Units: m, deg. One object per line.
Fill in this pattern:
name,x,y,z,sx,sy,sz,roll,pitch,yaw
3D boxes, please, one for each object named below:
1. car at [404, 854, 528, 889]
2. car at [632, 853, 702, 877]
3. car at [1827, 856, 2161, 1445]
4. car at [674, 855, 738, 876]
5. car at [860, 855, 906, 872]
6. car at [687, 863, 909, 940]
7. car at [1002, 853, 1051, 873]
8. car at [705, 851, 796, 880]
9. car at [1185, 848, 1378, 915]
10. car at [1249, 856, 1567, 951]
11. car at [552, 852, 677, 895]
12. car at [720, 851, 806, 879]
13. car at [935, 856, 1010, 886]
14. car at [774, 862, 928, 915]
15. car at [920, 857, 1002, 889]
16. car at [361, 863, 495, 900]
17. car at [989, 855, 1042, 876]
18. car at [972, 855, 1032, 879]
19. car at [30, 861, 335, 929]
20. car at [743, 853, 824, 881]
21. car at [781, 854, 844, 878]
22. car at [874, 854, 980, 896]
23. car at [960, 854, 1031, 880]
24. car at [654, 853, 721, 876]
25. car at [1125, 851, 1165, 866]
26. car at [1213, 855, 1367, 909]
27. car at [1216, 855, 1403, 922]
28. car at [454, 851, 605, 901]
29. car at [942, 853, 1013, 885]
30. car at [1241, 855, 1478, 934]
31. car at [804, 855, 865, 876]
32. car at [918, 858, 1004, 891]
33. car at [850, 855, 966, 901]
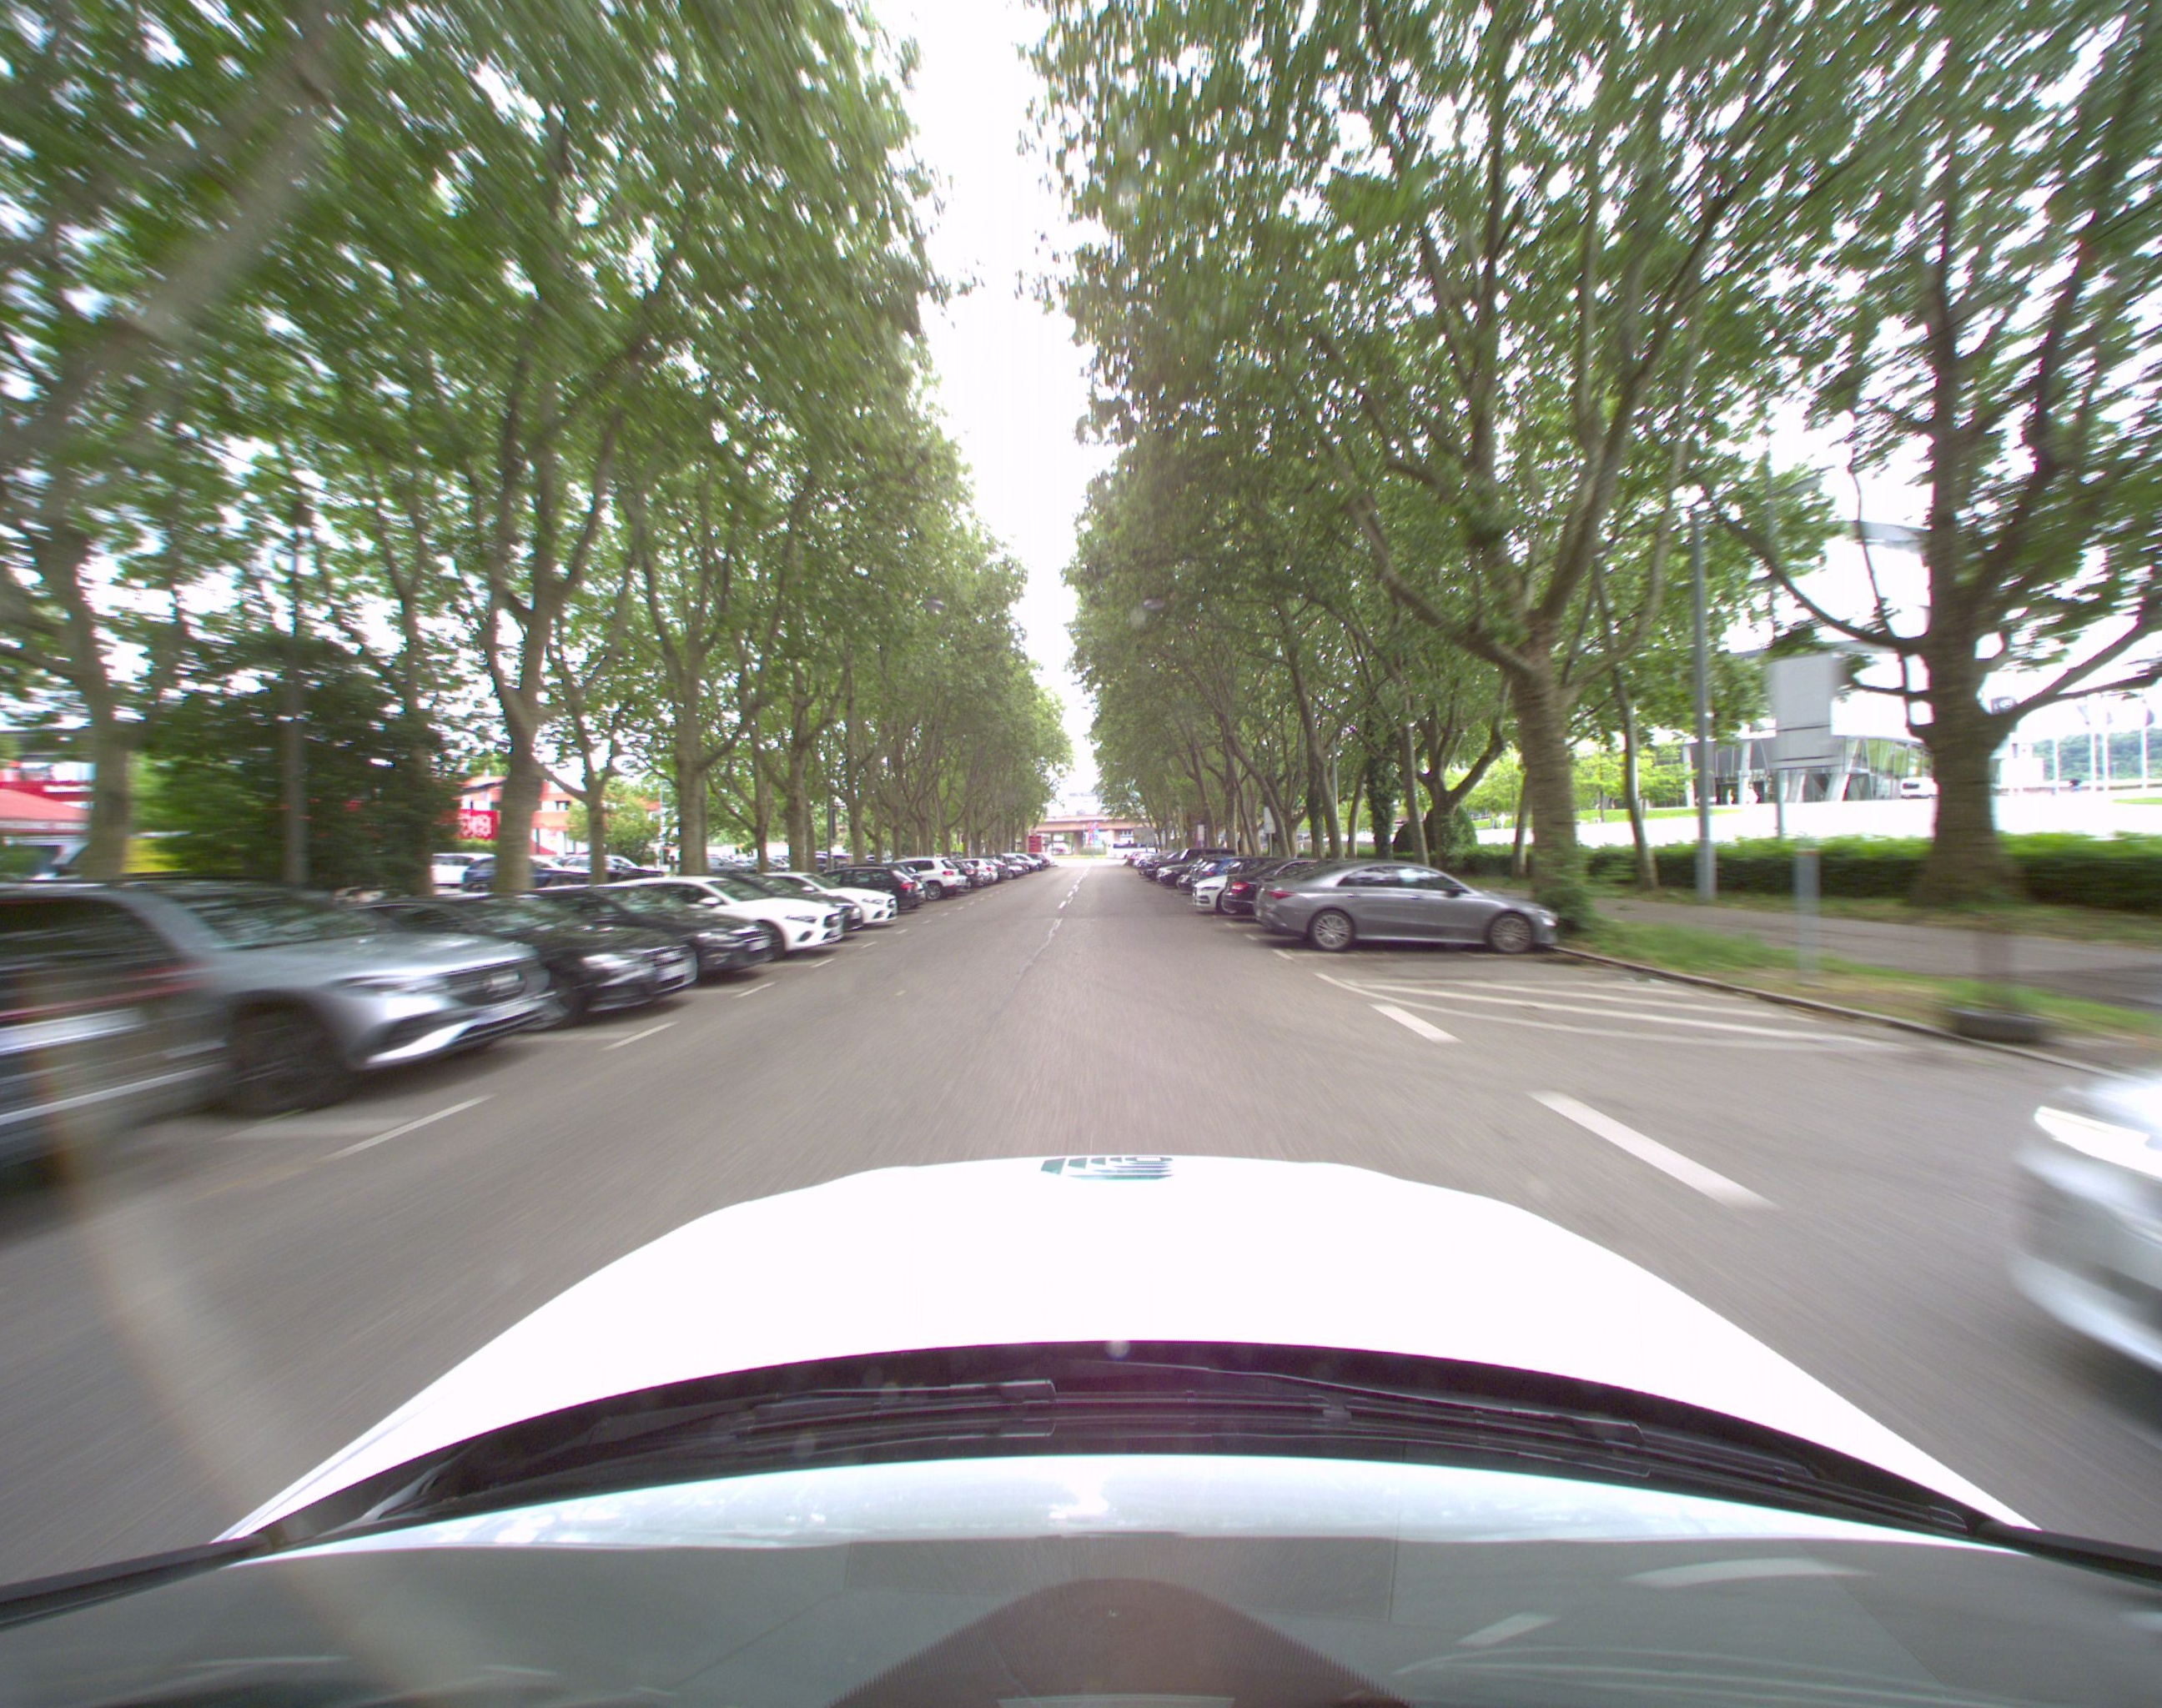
car,-32.839,0.918,43.617,4.927,1.797,2.182,0,-1,-2
car,-33.705,0.892,66.352,4.555,1.855,2.300,0,-1,6
car,4.931,0.731,2.134,4.665,1.383,1.993,0,2,-11
car,-32.918,1.004,71.608,4.555,1.855,2.300,0,-1,6
car,-20.616,0.955,84.926,4.306,1.709,2.132,0,-1,0
car,-6.480,1.064,19.048,4.394,1.444,2.047,-3,0,-1
car,-5.083,0.806,76.304,4.302,1.795,2.037,0,-1,1
car,-21.259,0.705,52.543,4.927,1.797,2.182,0,-1,-2
car,5.026,0.669,20.899,4.507,1.623,2.055,0,0,1
car,5.167,0.759,13.358,4.567,1.417,1.720,0,0,4
car,-21.671,0.888,37.959,4.539,1.720,1.999,-3,0,-1
car,-21.461,0.727,55.081,4.927,1.797,2.182,0,-1,-2
car,-6.083,0.944,46.003,3.918,1.516,1.728,-3,0,-1
car,-6.710,0.988,24.048,3.971,1.453,1.857,0,-1,2
car,-6.454,1.025,44.065,3.973,1.485,1.706,-3,0,5
car,-32.960,1.376,41.200,4.927,1.797,2.182,0,-1,-2
car,-5.334,0.910,66.345,3.960,1.421,1.758,-3,0,4
car,-5.465,0.874,56.357,3.918,1.398,1.703,-3,0,-1
car,-22.590,0.992,20.662,5.331,1.596,2.094,0,-1,0
car,-21.094,0.902,57.866,4.927,1.797,2.182,-1,0,-2
car,-21.441,0.979,65.206,4.306,1.861,2.028,0,-1,0
car,-6.320,0.848,33.671,3.971,1.682,1.856,0,-1,2
car,-5.649,0.873,53.939,4.449,1.482,1.703,-3,0,-1
car,-33.325,0.911,69.051,4.555,1.855,2.300,0,-1,6
car,7.141,0.537,91.045,4.330,1.633,1.926,0,0,1
car,5.921,0.763,23.386,4.000,1.447,1.785,0,0,1
car,5.089,0.749,18.499,3.816,1.417,1.719,0,0,1
car,-21.840,0.849,32.402,4.539,1.720,1.999,-3,0,-1
car,-6.127,0.862,48.507,3.918,1.708,1.752,-3,0,-1
car,5.356,0.745,15.987,4.010,1.417,1.908,0,0,-5
car,-21.254,0.976,70.468,4.536,1.725,2.296,0,-1,0
car,-6.014,1.036,41.107,3.981,1.420,1.703,-3,0,-1
car,-6.571,0.887,31.249,3.971,1.682,1.856,0,-1,2
